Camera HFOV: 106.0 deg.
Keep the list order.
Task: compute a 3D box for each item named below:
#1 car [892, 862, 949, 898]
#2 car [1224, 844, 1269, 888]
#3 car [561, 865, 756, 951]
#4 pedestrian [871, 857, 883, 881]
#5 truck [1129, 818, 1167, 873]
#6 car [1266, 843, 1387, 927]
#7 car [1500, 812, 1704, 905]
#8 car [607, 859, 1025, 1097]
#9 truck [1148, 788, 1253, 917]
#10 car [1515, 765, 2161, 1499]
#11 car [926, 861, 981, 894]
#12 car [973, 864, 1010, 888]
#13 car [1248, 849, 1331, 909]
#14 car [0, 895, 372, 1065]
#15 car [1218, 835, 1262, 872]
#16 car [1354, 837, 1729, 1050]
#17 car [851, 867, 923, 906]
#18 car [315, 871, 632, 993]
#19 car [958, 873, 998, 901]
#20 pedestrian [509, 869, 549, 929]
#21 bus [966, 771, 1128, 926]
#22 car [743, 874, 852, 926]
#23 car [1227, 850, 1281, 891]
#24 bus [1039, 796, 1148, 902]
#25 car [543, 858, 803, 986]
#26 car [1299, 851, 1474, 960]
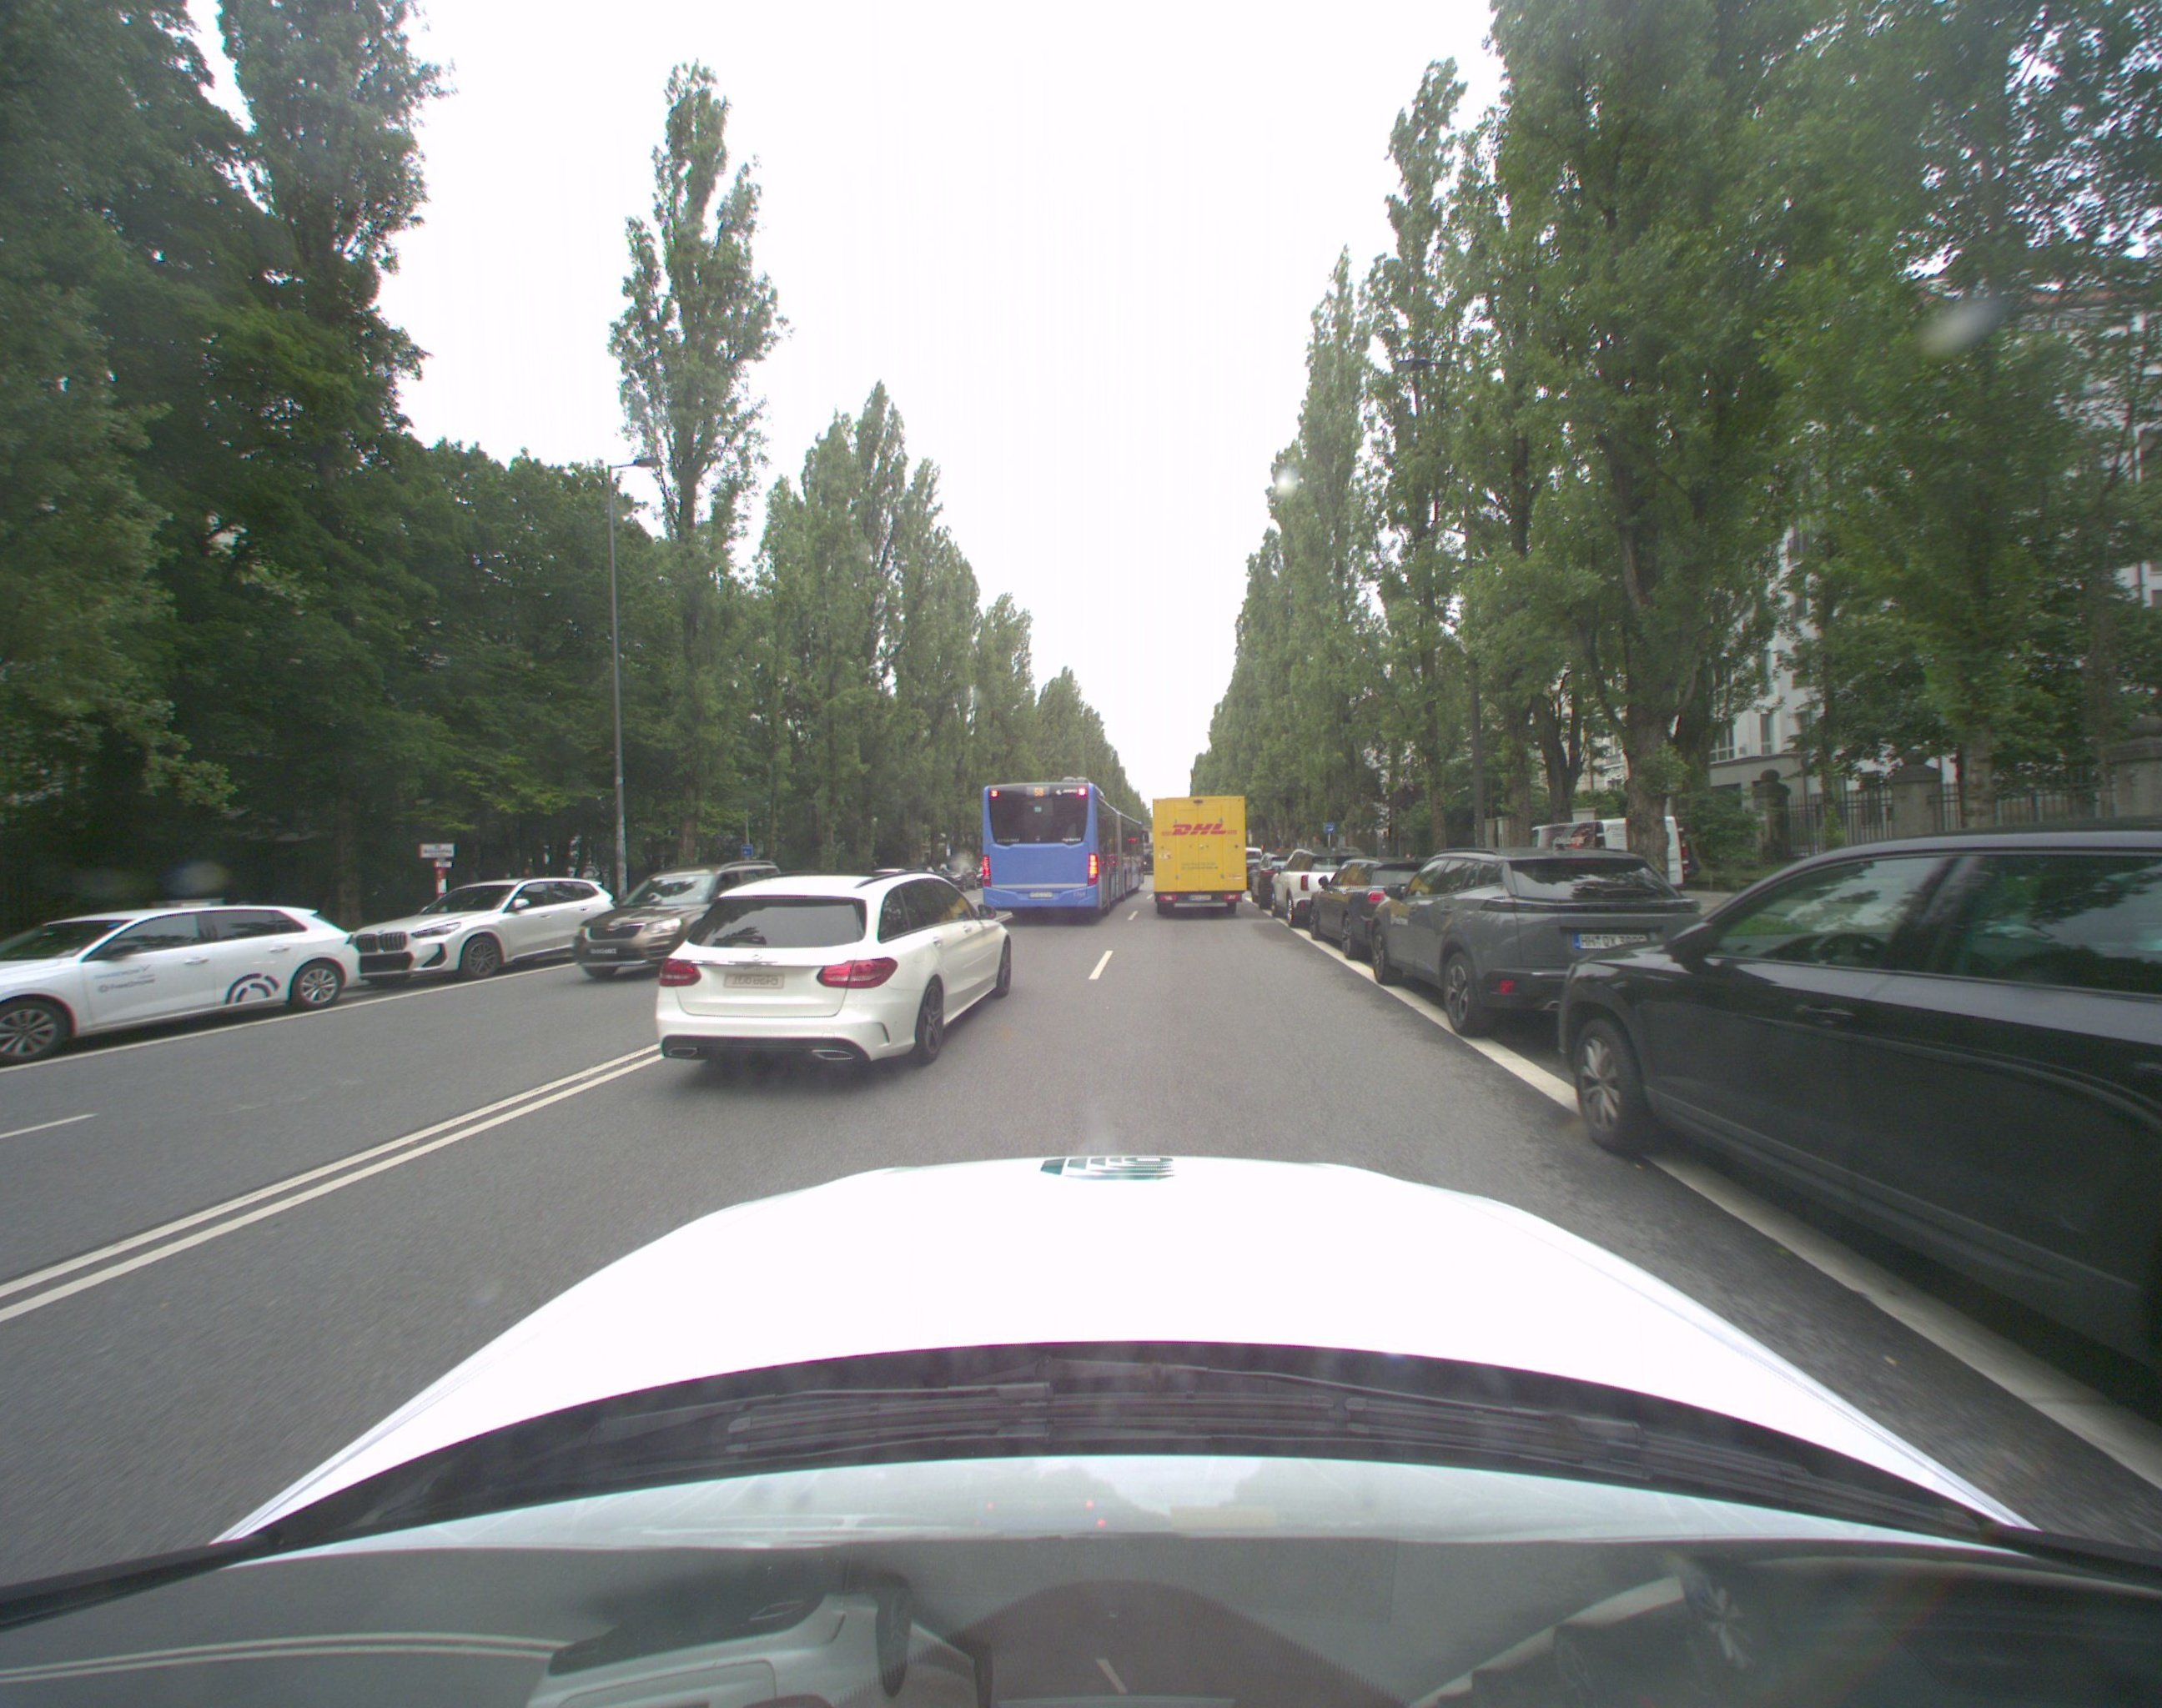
[{"bbox_3d":[-7.622,1.212,38.953,1.737,1.519,4.118,-4,0,1],"label":"car"},{"bbox_3d":[8.007,0.563,39.742,1.796,1.976,4.245,-1,0,7],"label":"car"},{"bbox_3d":[-10.122,1.207,20.039,1.871,1.658,4.725,-5,0,5],"label":"car"},{"bbox_3d":[-14.992,1.092,59.743,0.596,1.739,0.641,-2,-1,6],"label":"pedestrian"},{"bbox_3d":[5.328,-0.607,65.125,2.703,3.965,9.229,-2,0,4],"label":"truck"},{"bbox_3d":[5.147,0.586,17.609,1.772,1.581,4.154,0,0,6],"label":"car"},{"bbox_3d":[12.449,0.106,19.997,1.984,1.925,5.332,-2,0,6],"label":"car"},{"bbox_3d":[-1.850,0.793,7.393,1.816,1.454,4.591,-1,0,7],"label":"car"},{"bbox_3d":[3.137,-0.026,22.472,2.316,2.898,7.345,-2,0,6],"label":"truck"},{"bbox_3d":[3.347,0.587,2.786,1.812,1.590,4.230,-1,0,6],"label":"car"},{"bbox_3d":[-6.846,1.229,44.216,1.782,1.548,4.345,-5,-1,5],"label":"car"},{"bbox_3d":[-5.977,1.463,54.865,1.667,1.413,4.006,-3,0,5],"label":"car"},{"bbox_3d":[5.833,0.643,23.214,1.716,1.495,4.333,-2,0,7],"label":"car"},{"bbox_3d":[-10.847,1.325,9.171,1.668,1.422,4.245,-4,-1,6],"label":"car"},{"bbox_3d":[9.280,-0.042,47.955,2.042,2.013,5.703,-2,0,7],"label":"car"},{"bbox_3d":[3.967,0.646,7.878,1.643,1.503,4.121,-1,0,6],"label":"car"},{"bbox_3d":[-8.154,1.338,34.570,1.677,1.413,4.010,-4,-1,5],"label":"car"},{"bbox_3d":[-10.325,1.228,14.389,1.776,1.588,4.470,-4,0,7],"label":"car"},{"bbox_3d":[-6.263,1.989,49.958,1.532,1.433,3.875,-5,-1,5],"label":"car"},{"bbox_3d":[-17.315,1.397,25.543,0.636,1.815,0.777,-2,-1,6],"label":"pedestrian"},{"bbox_3d":[-0.473,-0.119,21.779,2.841,3.213,9.077,-1,0,7],"label":"bus"},{"bbox_3d":[-8.874,1.395,25.861,1.572,1.304,4.037,-4,0,7],"label":"car"},{"bbox_3d":[7.203,0.662,34.272,1.853,1.552,4.008,-2,0,7],"label":"car"},{"bbox_3d":[0.775,-0.161,31.063,2.856,3.304,9.811,-2,0,8],"label":"bus"},{"bbox_3d":[-6.387,0.966,13.375,1.776,1.656,4.120,-4,0,6],"label":"car"},{"bbox_3d":[4.625,0.687,12.947,1.625,1.446,4.155,0,0,6],"label":"car"}]
